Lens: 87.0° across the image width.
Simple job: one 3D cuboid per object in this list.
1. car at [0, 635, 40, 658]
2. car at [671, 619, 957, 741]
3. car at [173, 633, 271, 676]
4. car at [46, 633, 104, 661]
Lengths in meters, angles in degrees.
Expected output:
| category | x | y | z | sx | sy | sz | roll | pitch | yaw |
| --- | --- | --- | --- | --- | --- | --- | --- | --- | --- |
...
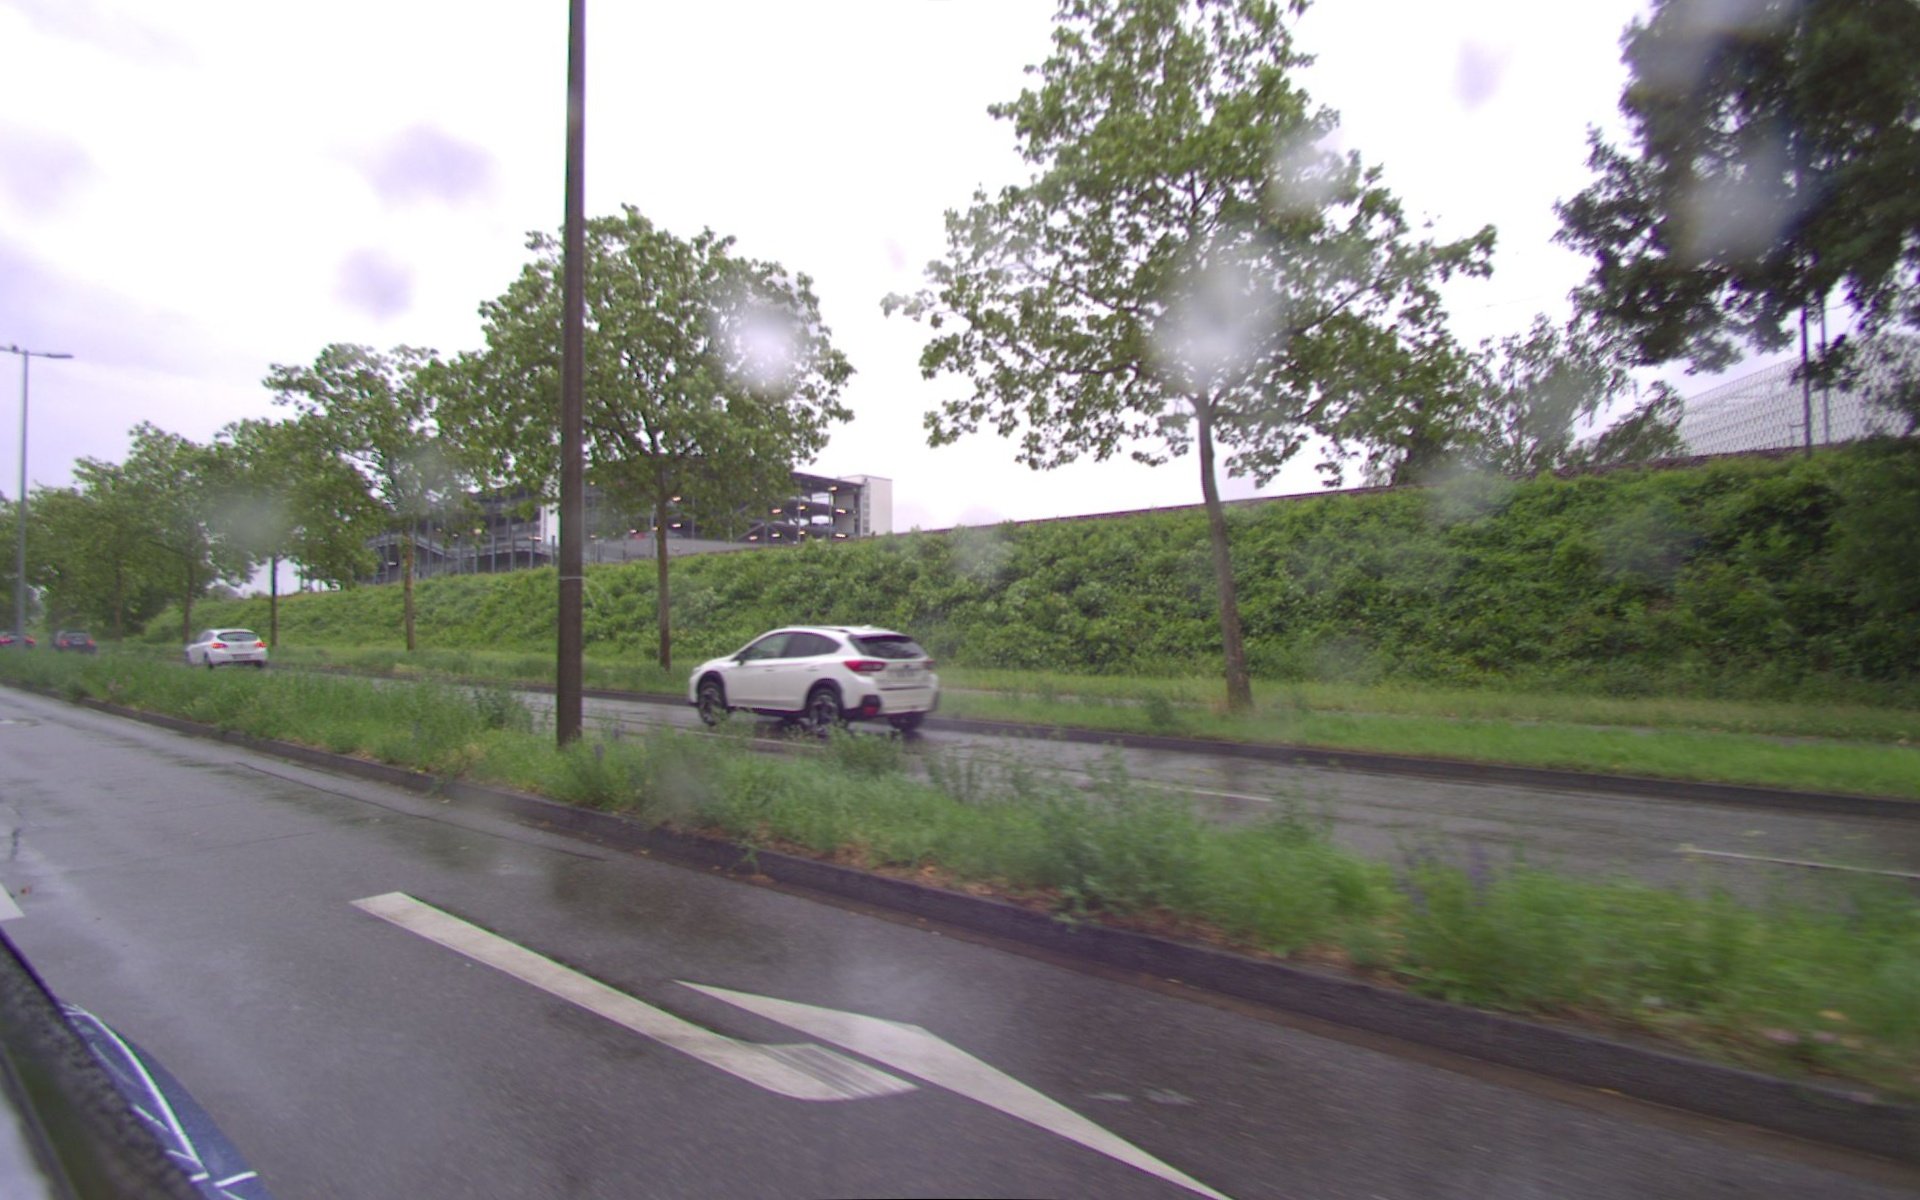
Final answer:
| category | x | y | z | sx | sy | sz | roll | pitch | yaw |
| --- | --- | --- | --- | --- | --- | --- | --- | --- | --- |
| car | -61.453 | 2.997 | 65.820 | 4.494 | 1.456 | 1.911 | -2 | -2 | 41 |
| car | -2.341 | 1.119 | 15.454 | 4.516 | 1.601 | 1.837 | -2 | -3 | 41 |
| car | -27.085 | 1.951 | 37.111 | 4.654 | 1.456 | 1.911 | -2 | -2 | 41 |
| car | -48.459 | 2.562 | 55.398 | 3.705 | 1.456 | 1.911 | -2 | -2 | 41 |
